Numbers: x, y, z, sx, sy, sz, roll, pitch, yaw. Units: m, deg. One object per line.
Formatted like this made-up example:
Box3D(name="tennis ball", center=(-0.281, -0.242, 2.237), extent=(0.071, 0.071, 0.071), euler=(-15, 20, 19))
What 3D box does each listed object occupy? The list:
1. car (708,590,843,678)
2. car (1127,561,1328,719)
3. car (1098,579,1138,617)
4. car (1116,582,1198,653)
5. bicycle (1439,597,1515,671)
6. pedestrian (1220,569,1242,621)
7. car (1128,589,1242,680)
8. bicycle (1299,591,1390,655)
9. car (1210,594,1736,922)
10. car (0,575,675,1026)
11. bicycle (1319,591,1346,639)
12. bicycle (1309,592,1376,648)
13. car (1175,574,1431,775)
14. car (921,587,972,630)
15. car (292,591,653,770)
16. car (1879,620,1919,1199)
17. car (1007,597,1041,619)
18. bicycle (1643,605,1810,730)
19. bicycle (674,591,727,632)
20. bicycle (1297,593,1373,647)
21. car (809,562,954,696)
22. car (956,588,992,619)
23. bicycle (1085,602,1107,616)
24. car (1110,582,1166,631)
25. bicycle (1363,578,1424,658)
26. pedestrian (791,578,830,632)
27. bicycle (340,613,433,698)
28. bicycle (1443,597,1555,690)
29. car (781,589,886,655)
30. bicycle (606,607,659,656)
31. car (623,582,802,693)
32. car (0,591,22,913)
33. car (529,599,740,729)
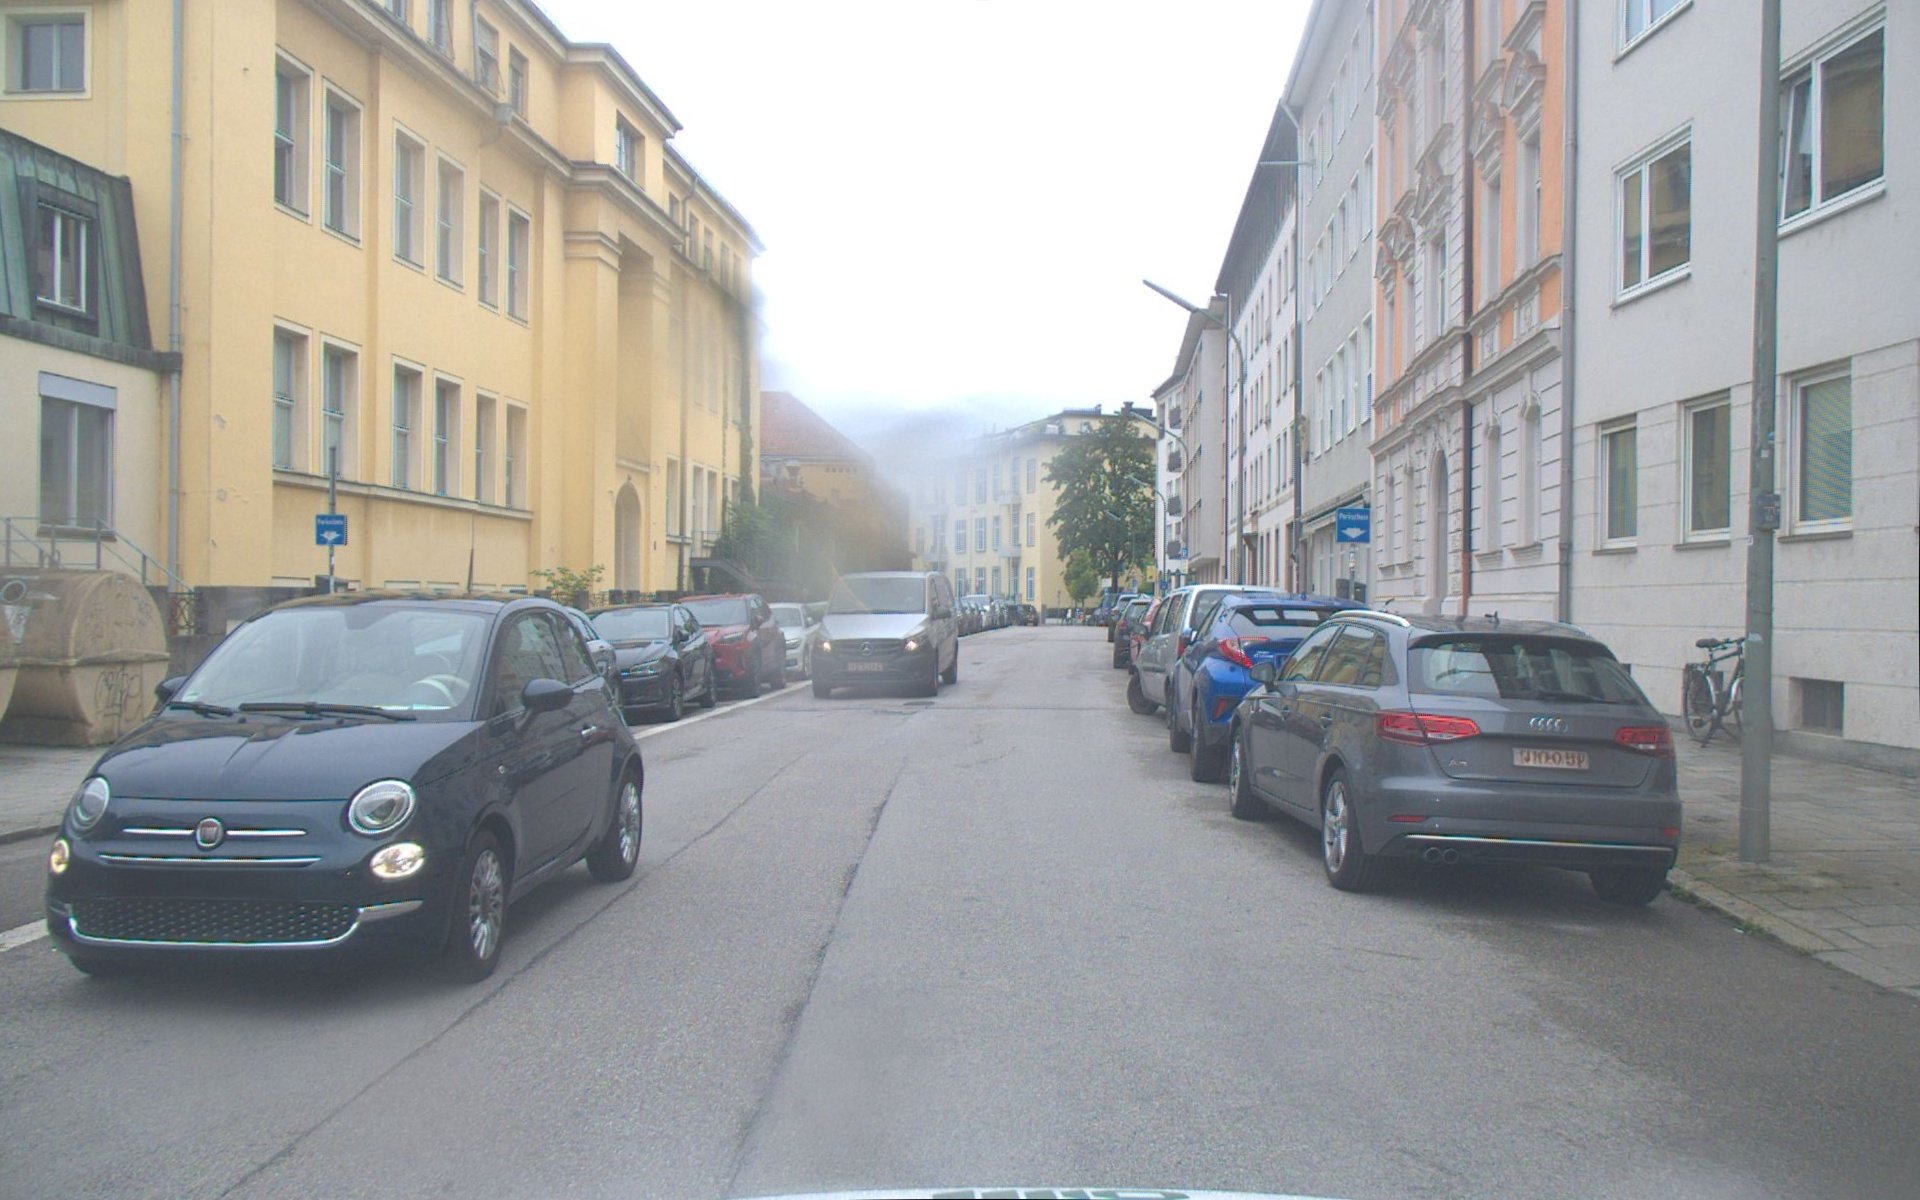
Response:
Box3D(name="car", center=(-3.466, 0.612, 31.833), extent=(1.756, 1.454, 4.666), euler=(-4, 0, 3))
Box3D(name="car", center=(3.148, 0.433, 20.165), extent=(1.647, 1.702, 3.802), euler=(1, 0, -3))
Box3D(name="car", center=(10.849, -0.086, 114.109), extent=(2.037, 2.272, 5.242), euler=(4, -2, -1))
Box3D(name="car", center=(4.255, 0.357, 35.938), extent=(1.652, 1.426, 4.367), euler=(0, 0, 6))
Box3D(name="bicycle", center=(7.638, 0.481, 24.509), extent=(0.583, 1.042, 1.818), euler=(-1, 0, 2))
Box3D(name="pedestrian", center=(9.517, -0.174, 58.054), extent=(0.707, 1.794, 0.905), euler=(0, -2, 5))
Box3D(name="car", center=(4.130, 0.590, 30.888), extent=(1.652, 1.526, 4.148), euler=(2, 0, 2))
Box3D(name="bicycle", center=(7.466, 0.432, 32.090), extent=(2.072, 1.159, 0.576), euler=(-1, 0, -40))
Box3D(name="car", center=(2.782, 0.746, 10.079), extent=(1.671, 1.479, 4.400), euler=(3, 0, -2))
Box3D(name="car", center=(-2.514, 0.672, 7.415), extent=(1.626, 1.500, 3.709), euler=(0, 0, 3))
Box3D(name="bicycle", center=(9.463, 0.361, 42.000), extent=(0.376, 1.178, 1.951), euler=(0, 0, 4))
Box3D(name="bicycle", center=(7.948, 0.404, 34.348), extent=(0.610, 1.108, 1.805), euler=(-1, 0, 39))
Box3D(name="car", center=(2.907, 0.556, 14.875), extent=(1.705, 1.520, 4.550), euler=(0, 0, 5))
Box3D(name="car", center=(-0.509, 0.339, 68.250), extent=(1.752, 1.614, 4.820), euler=(-3, 0, 3))
Box3D(name="car", center=(-4.607, 0.705, 16.477), extent=(1.972, 1.443, 4.617), euler=(-3, -1, 3))
Box3D(name="car", center=(3.076, 0.764, 1.155), extent=(1.915, 1.439, 5.111), euler=(0, 0, -2))
Box3D(name="car", center=(5.821, 0.714, 151.213), extent=(1.734, 1.907, 4.358), euler=(4, -1, -17))
Box3D(name="bicycle", center=(7.273, 0.604, 15.789), extent=(0.518, 1.090, 1.998), euler=(0, 0, -5))
Box3D(name="bicycle", center=(-8.408, 0.383, 53.539), extent=(1.591, 1.290, 0.527), euler=(-1, 0, 6))
Box3D(name="bicycle", center=(7.935, 0.419, 34.948), extent=(1.828, 1.086, 0.509), euler=(-1, 0, -38))
Box3D(name="car", center=(-1.140, 0.423, 26.401), extent=(1.876, 1.880, 5.322), euler=(-1, 0, 2))
Box3D(name="car", center=(0.713, 0.165, 83.397), extent=(1.558, 1.466, 4.020), euler=(-3, 0, 3))
Box3D(name="bicycle", center=(12.340, 0.836, 150.421), extent=(1.881, 1.222, 0.595), euler=(0, 0, 19))
Box3D(name="car", center=(6.037, 0.228, 56.050), extent=(1.800, 1.549, 4.712), euler=(1, 0, 6))
Box3D(name="bicycle", center=(7.896, 0.307, 30.196), extent=(0.583, 1.409, 2.092), euler=(-1, 0, 2))
Box3D(name="pedestrian", center=(-4.940, 0.146, 54.585), extent=(0.883, 1.749, 1.059), euler=(-1, 0, 21))
Box3D(name="bicycle", center=(-8.605, 0.803, 24.893), extent=(0.524, 1.206, 2.107), euler=(0, 0, 5))
Box3D(name="bicycle", center=(6.890, 0.531, 21.244), extent=(0.708, 1.132, 1.994), euler=(0, 0, -3))
Box3D(name="car", center=(-2.941, 0.493, 39.400), extent=(1.747, 1.457, 4.655), euler=(0, 0, 5))
Box3D(name="bicycle", center=(-7.450, 0.696, 37.648), extent=(0.526, 1.081, 1.641), euler=(0, 0, 15))
Box3D(name="car", center=(-3.794, 0.553, 26.147), extent=(1.917, 1.507, 4.530), euler=(-3, 0, 2))
Box3D(name="car", center=(-5.656, 0.785, 5.723), extent=(1.873, 1.507, 4.534), euler=(-3, 0, 5))
Box3D(name="car", center=(-4.098, 0.744, 21.495), extent=(1.713, 1.429, 4.355), euler=(-3, 0, 1))
